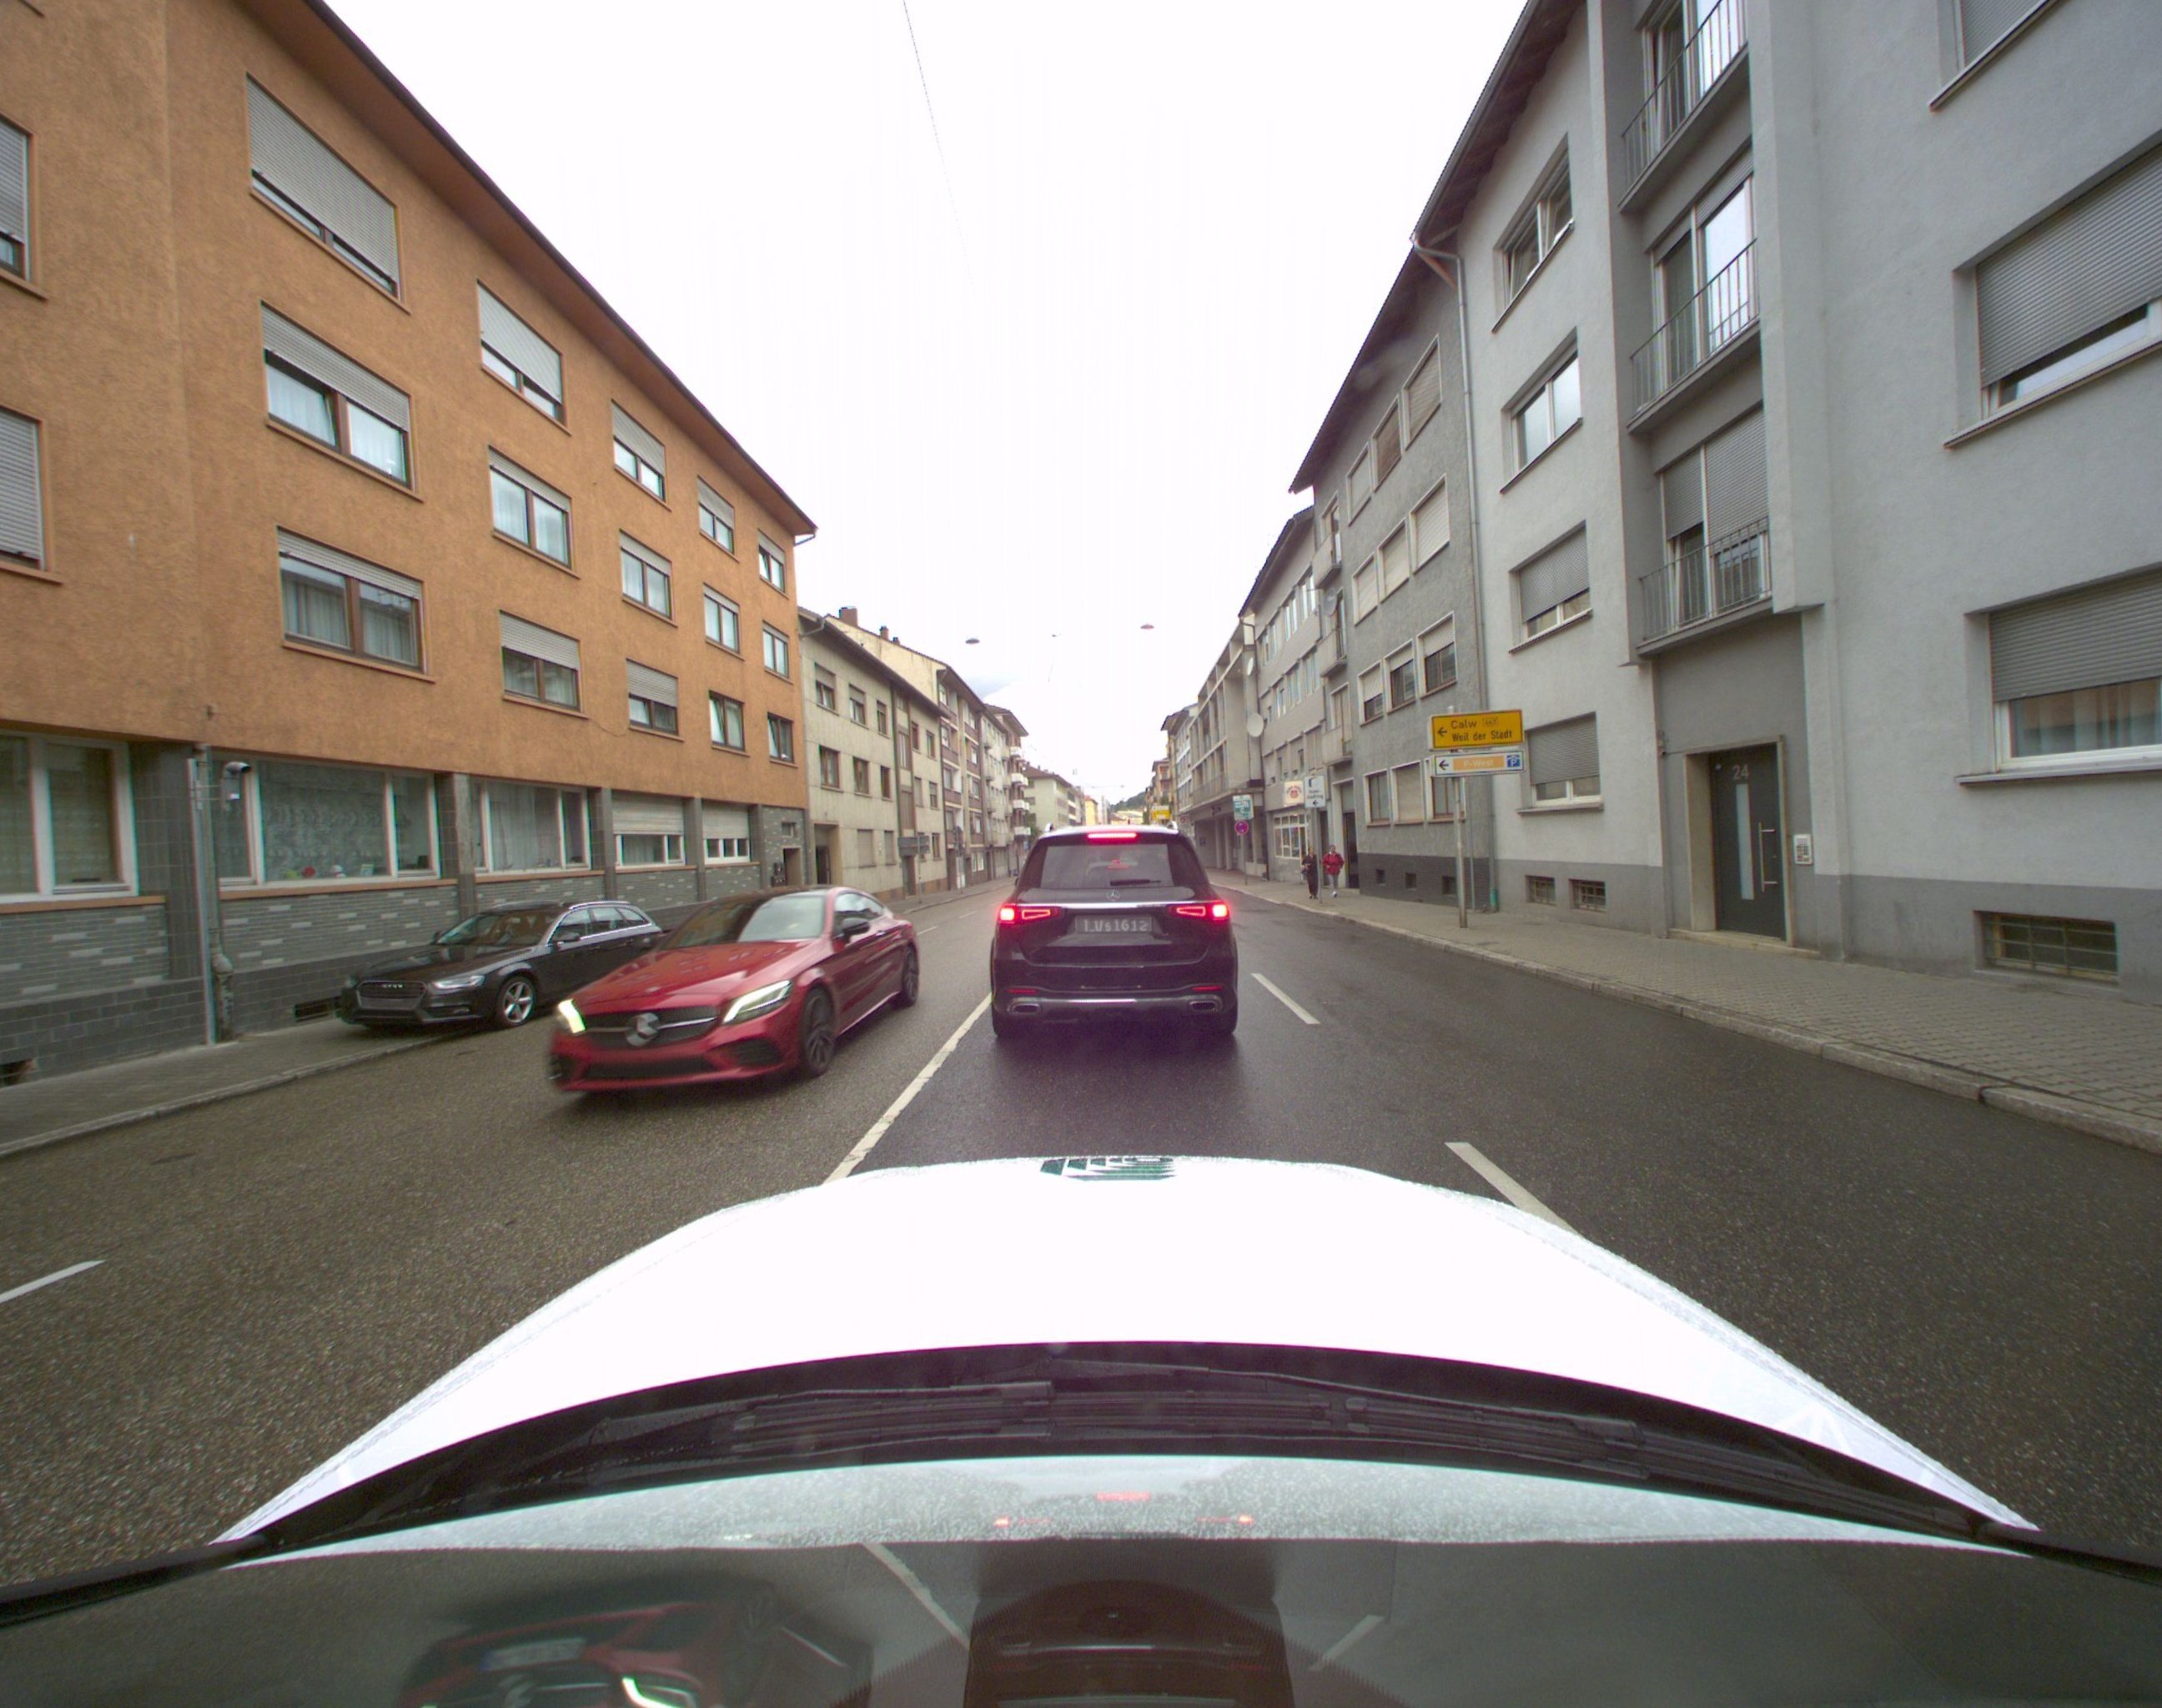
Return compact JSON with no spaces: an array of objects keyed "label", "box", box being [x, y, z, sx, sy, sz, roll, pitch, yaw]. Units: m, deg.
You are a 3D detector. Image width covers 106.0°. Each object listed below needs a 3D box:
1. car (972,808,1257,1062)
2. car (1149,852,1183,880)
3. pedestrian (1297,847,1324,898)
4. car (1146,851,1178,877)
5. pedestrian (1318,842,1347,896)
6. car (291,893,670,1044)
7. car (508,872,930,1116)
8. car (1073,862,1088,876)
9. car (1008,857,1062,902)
[{"label":"car","box":[0.284,0.582,7.810,2.018,1.806,4.001,0,0,1]},{"label":"car","box":[5.129,0.730,49.603,1.760,1.580,4.002,-2,0,2]},{"label":"pedestrian","box":[6.925,0.556,24.582,0.504,1.500,0.562,-5,0,1]},{"label":"car","box":[5.888,0.725,59.825,1.933,1.775,4.747,-1,0,1]},{"label":"pedestrian","box":[7.605,0.439,24.638,0.558,1.578,0.526,-5,0,1]},{"label":"car","box":[-7.748,1.369,11.228,1.789,1.438,4.528,0,0,1]},{"label":"car","box":[-2.766,0.959,7.472,1.718,1.390,4.341,-4,0,2]},{"label":"car","box":[-0.019,1.812,98.476,1.642,1.439,4.127,-4,0,2]},{"label":"car","box":[-1.798,0.985,33.275,1.727,1.575,4.012,-6,0,1]}]
